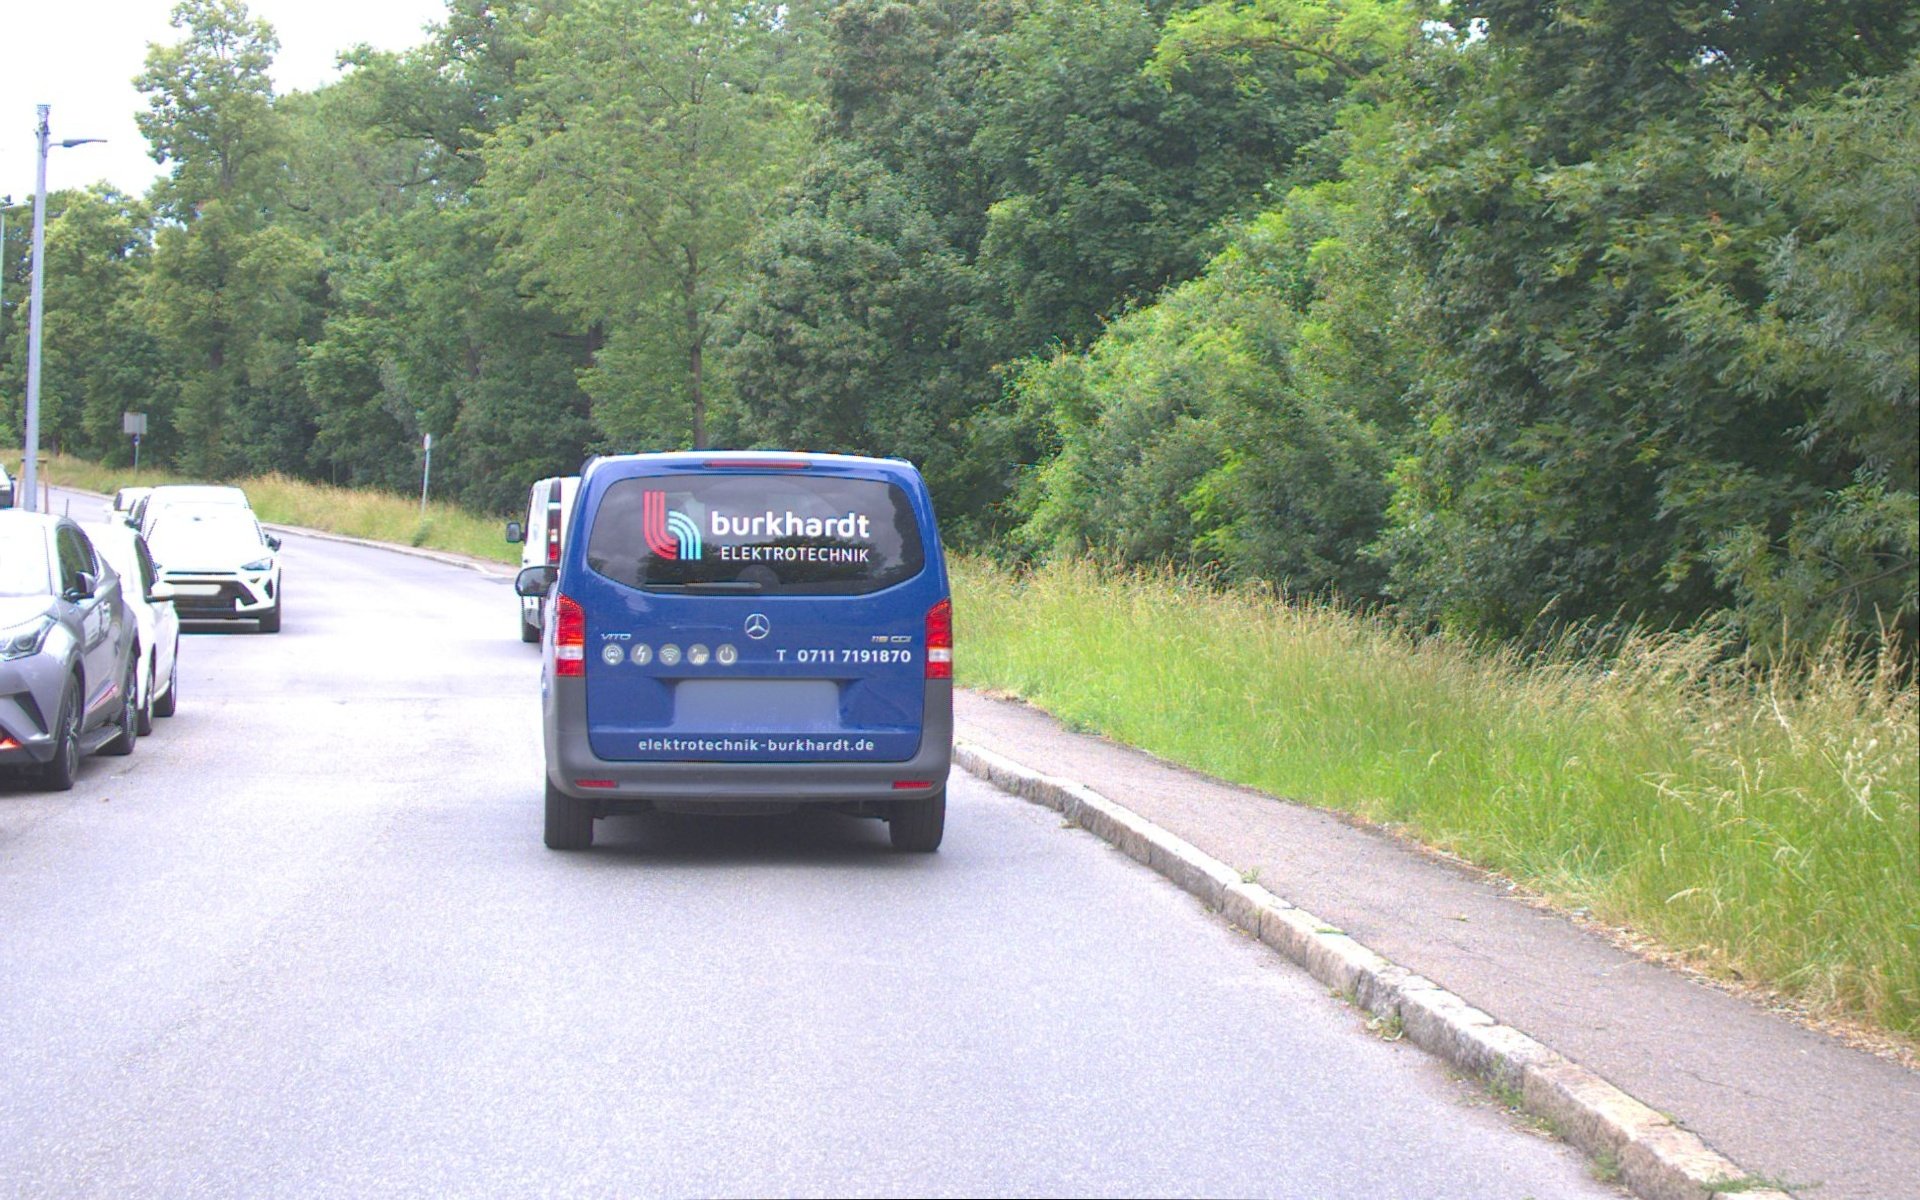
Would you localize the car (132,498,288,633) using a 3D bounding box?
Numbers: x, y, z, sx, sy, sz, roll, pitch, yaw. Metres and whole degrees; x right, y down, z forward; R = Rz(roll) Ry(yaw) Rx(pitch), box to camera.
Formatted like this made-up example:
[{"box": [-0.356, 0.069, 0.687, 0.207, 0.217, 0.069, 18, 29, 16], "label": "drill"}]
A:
[{"box": [-9.273, -0.457, 42.619, 1.724, 1.487, 4.415, 3, 1, -12], "label": "car"}]

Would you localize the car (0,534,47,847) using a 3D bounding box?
[{"box": [-5.140, 0.428, 14.785, 1.649, 1.436, 4.334, 2, 1, -6], "label": "car"}]

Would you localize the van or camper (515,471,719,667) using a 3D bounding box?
[{"box": [-3.863, -0.401, 38.177, 2.019, 1.950, 4.898, 3, 2, -7], "label": "van or camper"}]

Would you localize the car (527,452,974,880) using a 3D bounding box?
[{"box": [-1.147, 0.206, 17.181, 1.913, 1.831, 4.295, 1, 2, -6], "label": "car"}]

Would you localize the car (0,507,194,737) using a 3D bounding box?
[{"box": [-6.507, 0.099, 24.852, 1.622, 1.475, 3.929, 3, 1, -9], "label": "car"}]

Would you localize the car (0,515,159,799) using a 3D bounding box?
[{"box": [-5.874, 0.241, 20.168, 1.761, 1.475, 4.128, 2, 1, -6], "label": "car"}]
